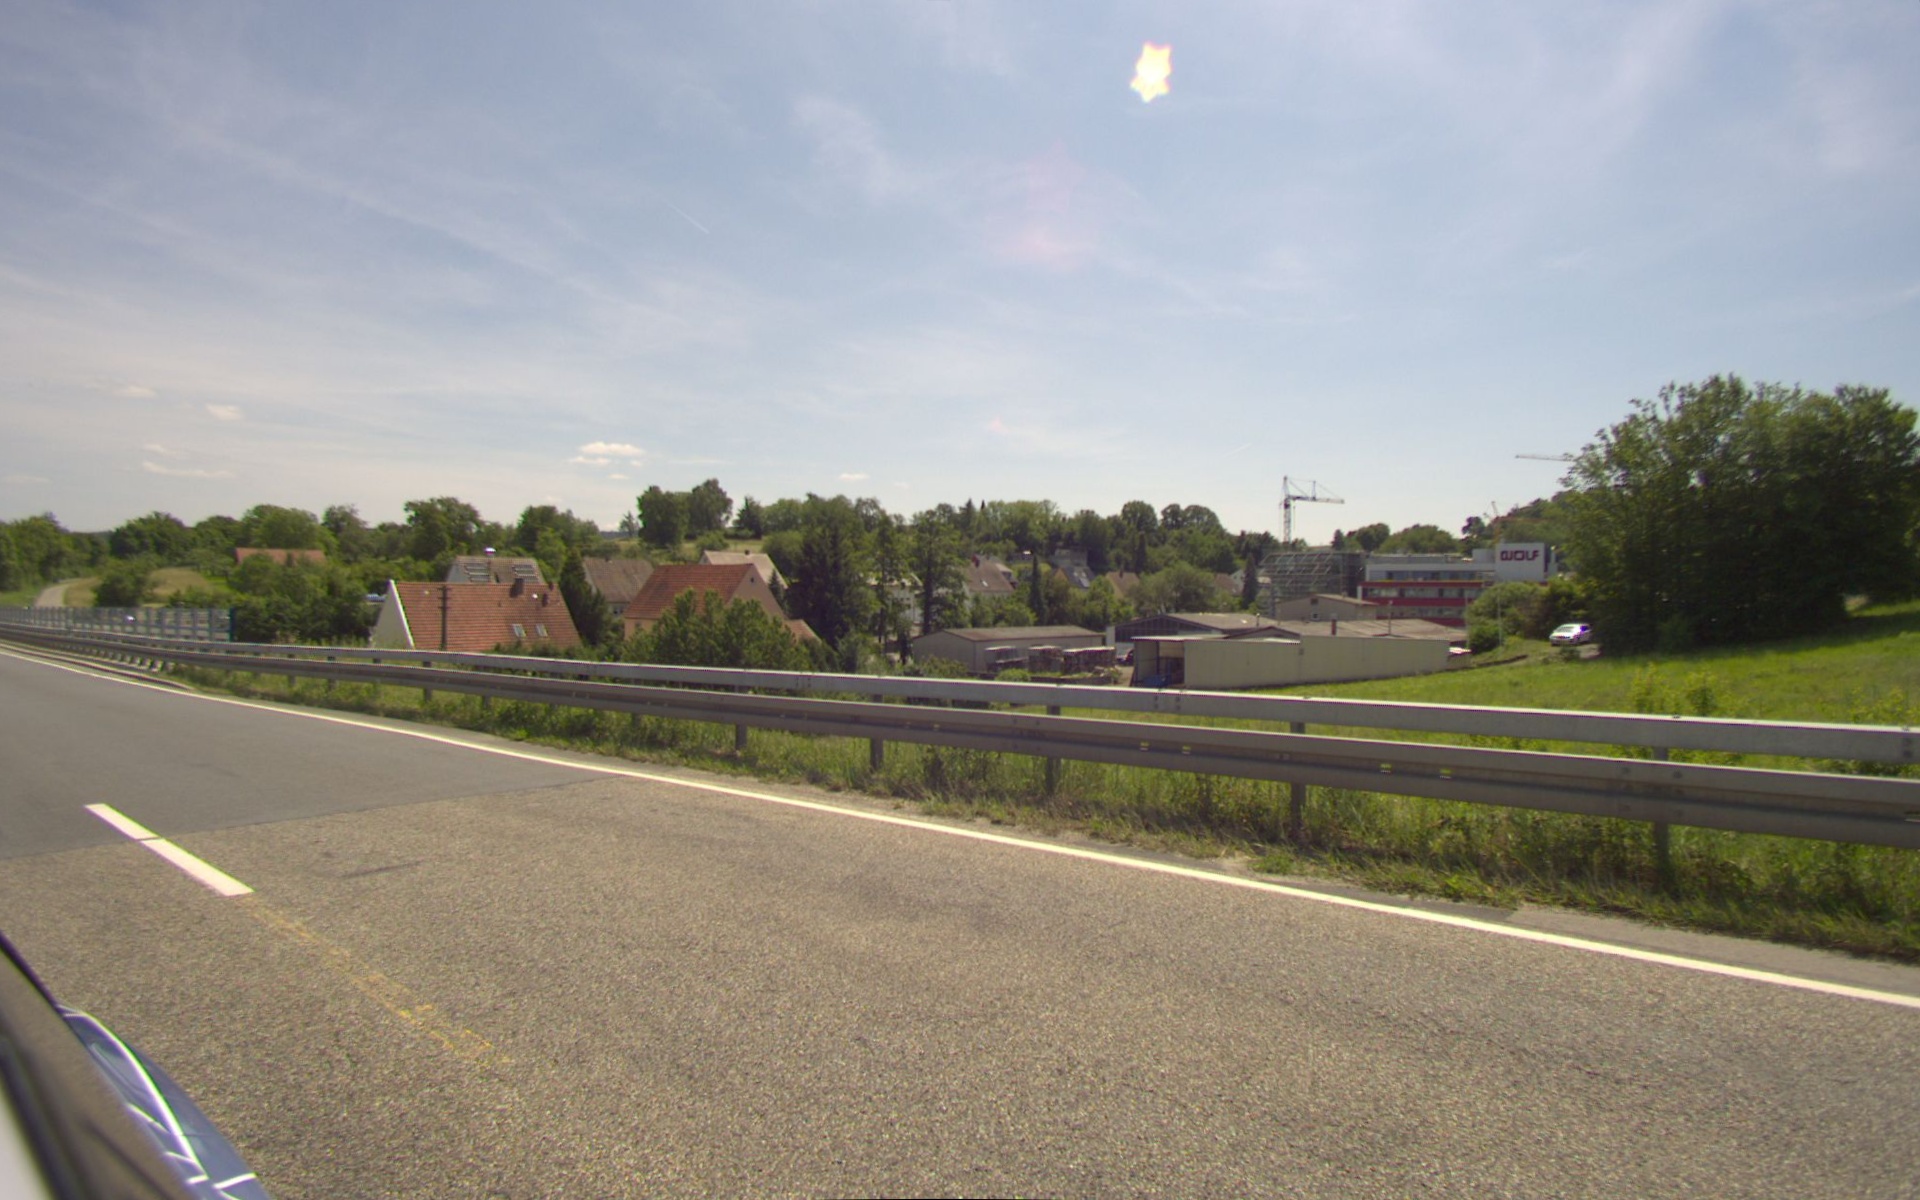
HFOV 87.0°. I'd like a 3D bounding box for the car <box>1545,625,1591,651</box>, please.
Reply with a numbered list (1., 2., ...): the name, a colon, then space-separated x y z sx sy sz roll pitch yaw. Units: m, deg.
1. car: 44.257 2.779 73.621 3.941 1.615 1.833 -2 -3 -45
